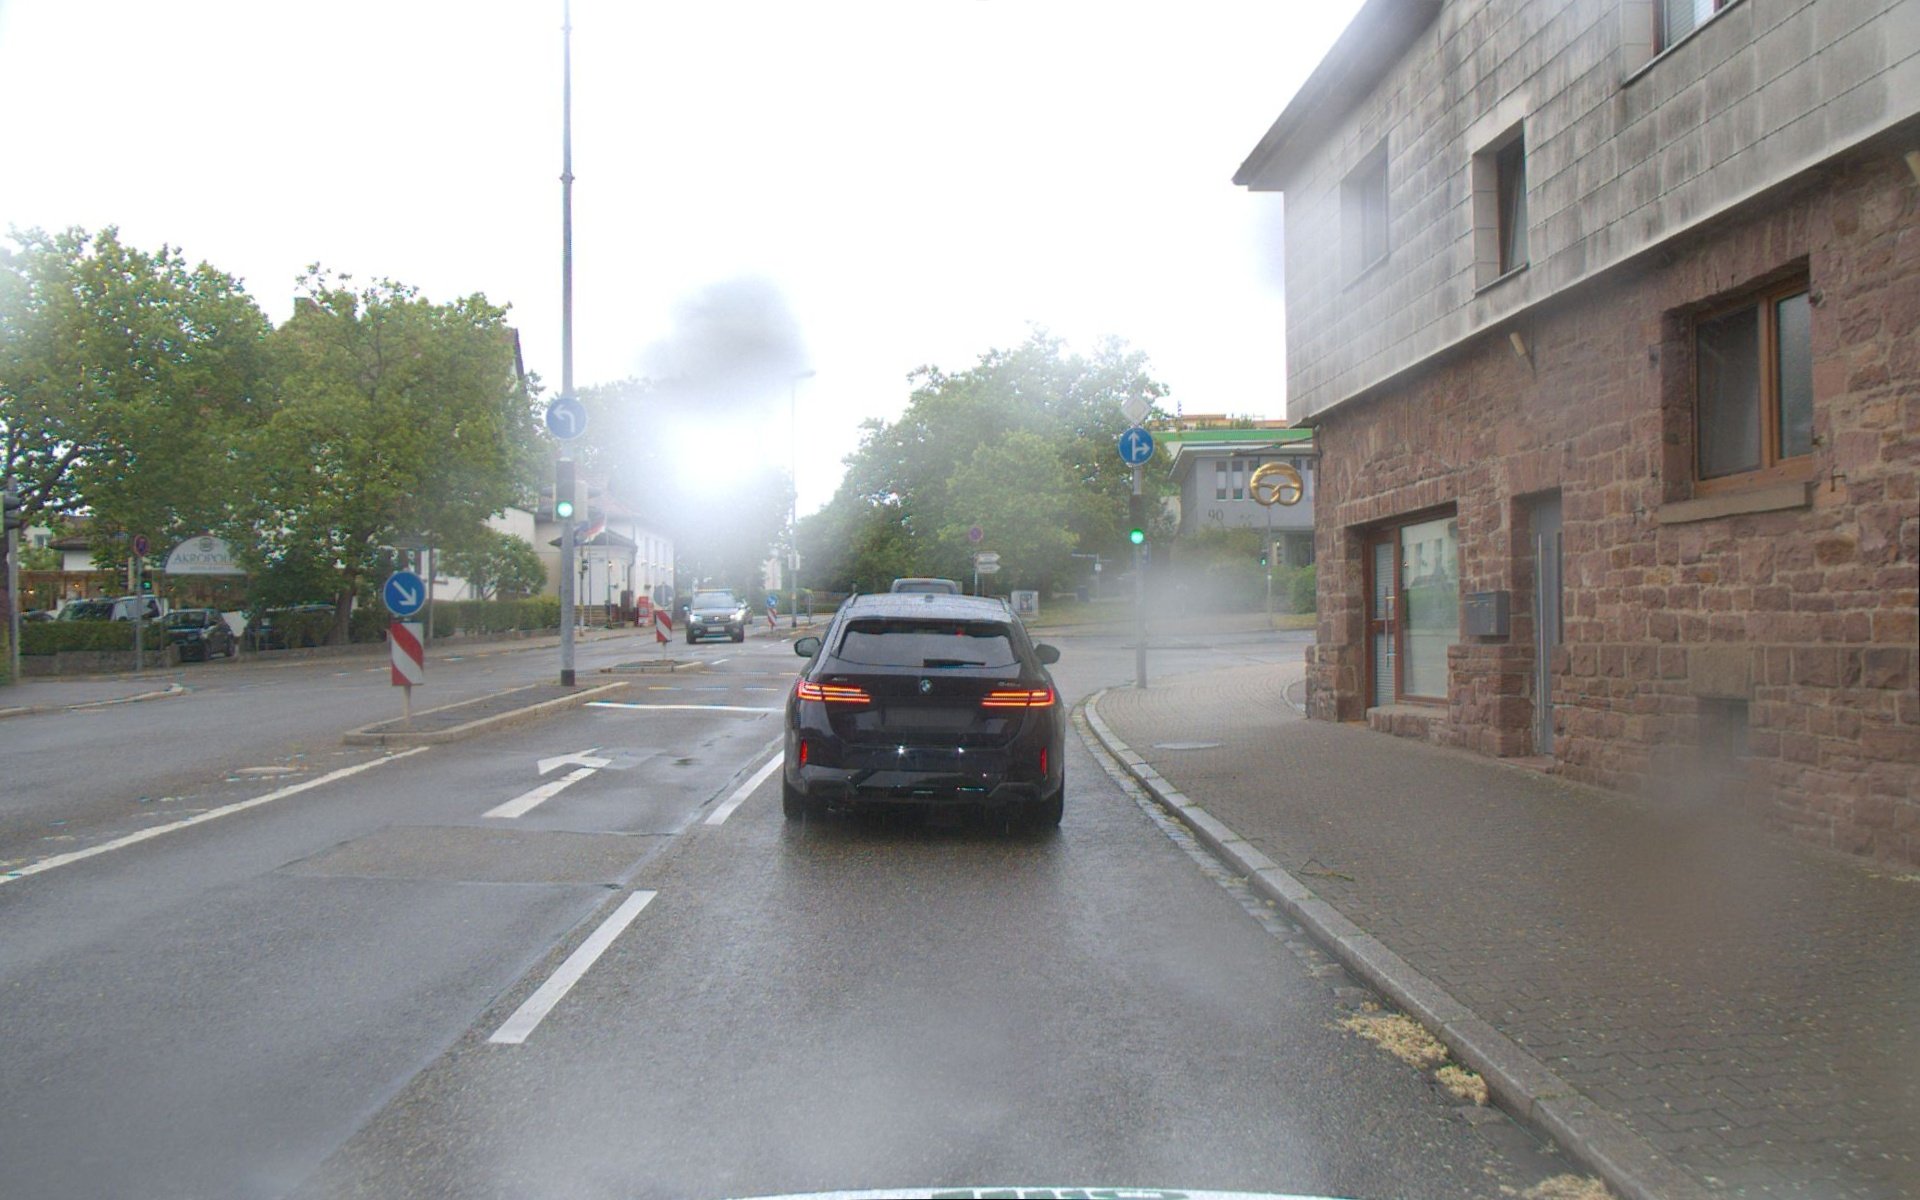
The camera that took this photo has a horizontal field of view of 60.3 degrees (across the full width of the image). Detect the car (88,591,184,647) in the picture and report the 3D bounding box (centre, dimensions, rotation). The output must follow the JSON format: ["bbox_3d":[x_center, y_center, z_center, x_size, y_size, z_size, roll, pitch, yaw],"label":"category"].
[{"bbox_3d":[-31.970,0.726,64.312,1.955,2.049,3.996,1,0,-5],"label":"car"}]

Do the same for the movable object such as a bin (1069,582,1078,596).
[{"bbox_3d":[7.342,-0.726,106.976,0.440,0.921,0.463,1,-1,14],"label":"movable object such as a bin"}]

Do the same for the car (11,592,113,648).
[{"bbox_3d":[-34.633,0.743,63.898,1.955,2.049,3.996,1,0,-5],"label":"car"}]

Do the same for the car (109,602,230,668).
[{"bbox_3d":[-23.112,0.995,48.500,1.772,1.578,4.000,1,3,-3],"label":"car"}]

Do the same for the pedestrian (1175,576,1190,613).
[{"bbox_3d":[9.899,-0.243,73.593,0.588,1.645,0.526,1,-1,6],"label":"pedestrian"}]

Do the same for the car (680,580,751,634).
[{"bbox_3d":[-7.687,0.192,52.317,1.861,1.605,4.499,-1,1,-4],"label":"car"}]

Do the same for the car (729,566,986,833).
[{"bbox_3d":[-0.722,0.604,11.613,1.494,1.561,3.529,1,0,-4],"label":"car"}]

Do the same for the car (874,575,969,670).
[{"bbox_3d":[-0.854,0.461,34.543,1.776,1.840,3.753,1,0,-4],"label":"car"}]
